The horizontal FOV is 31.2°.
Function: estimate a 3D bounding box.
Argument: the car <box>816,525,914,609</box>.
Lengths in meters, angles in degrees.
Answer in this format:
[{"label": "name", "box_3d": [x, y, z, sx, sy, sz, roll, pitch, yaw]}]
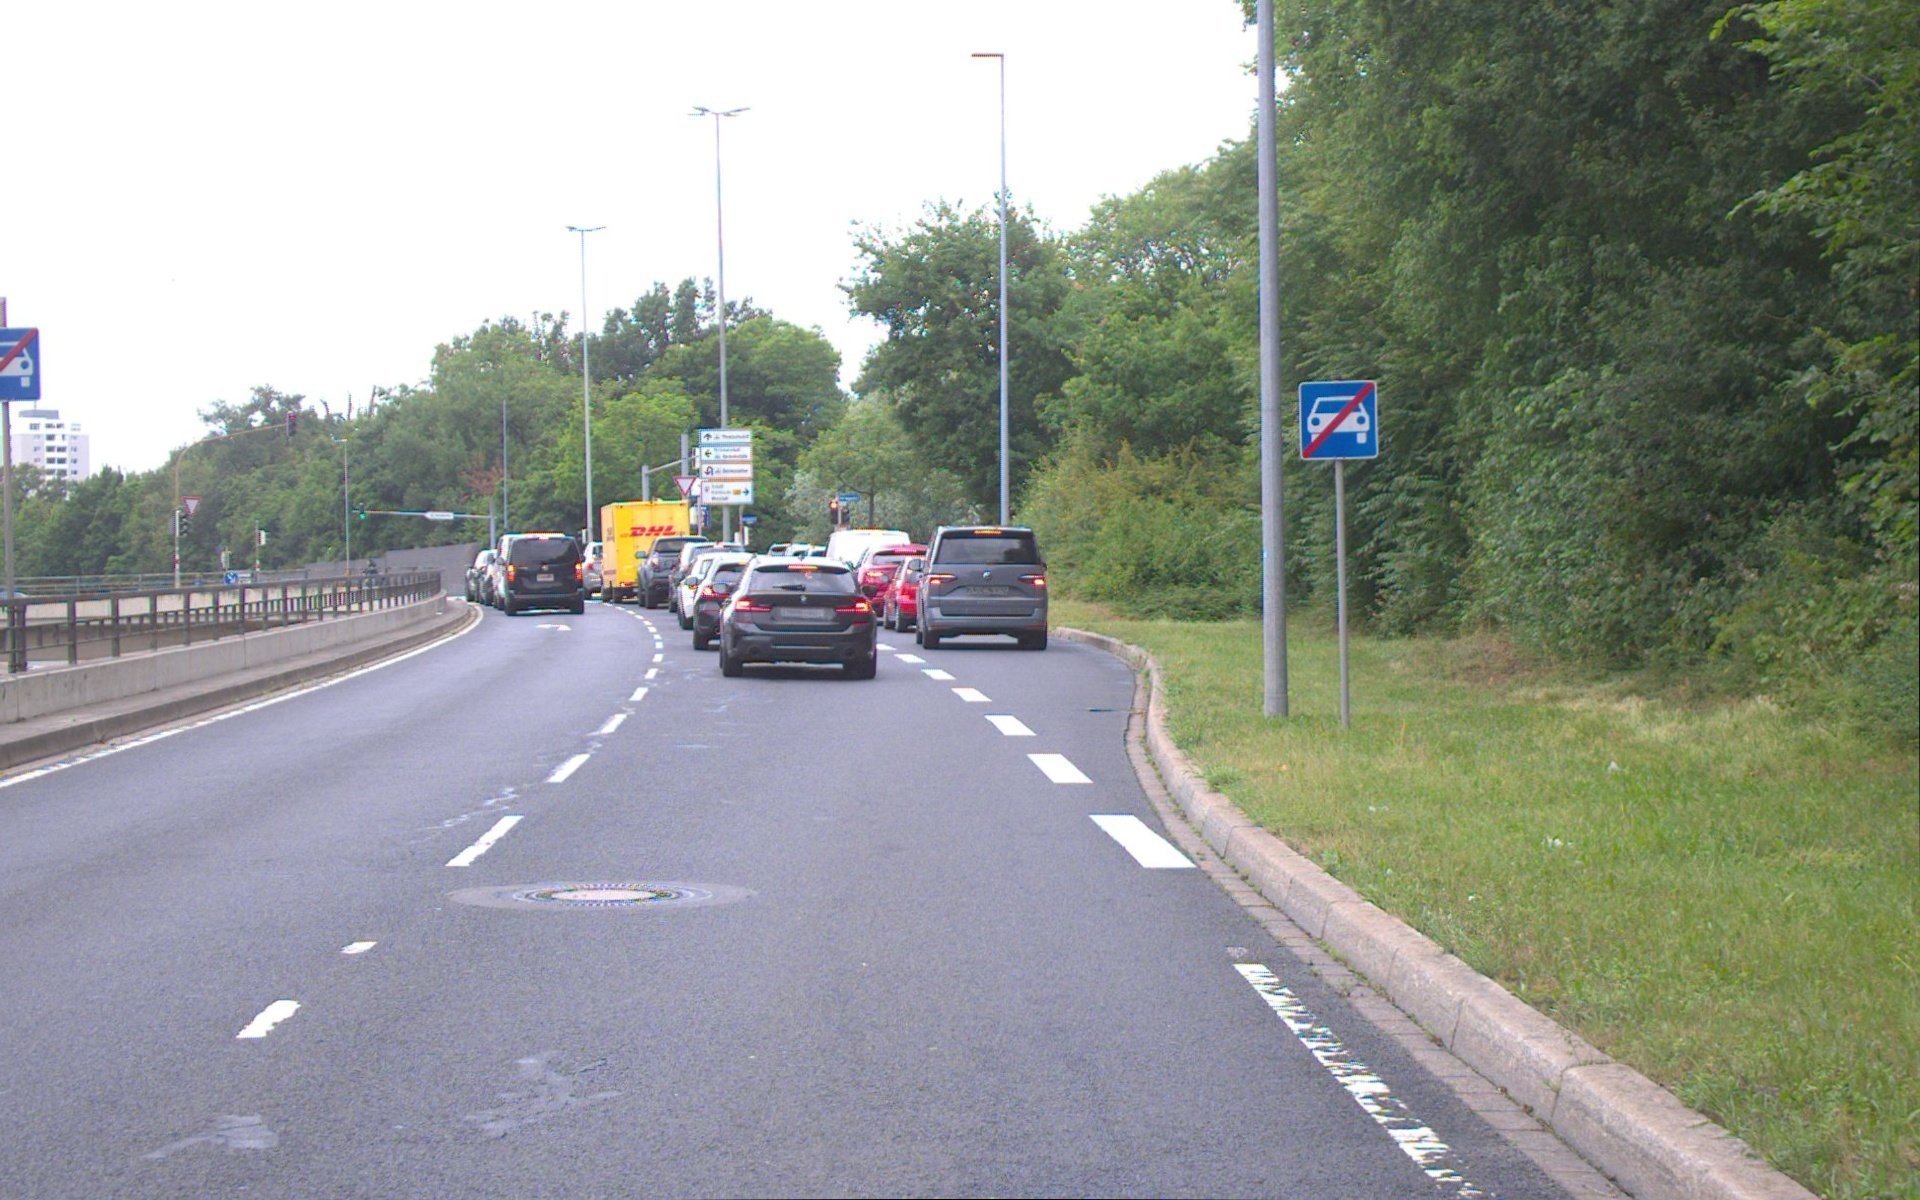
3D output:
[{"label": "car", "box_3d": [-2.209, -0.753, 78.810, 1.884, 1.873, 4.430, 1, 0, -6]}]

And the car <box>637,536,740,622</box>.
[{"label": "car", "box_3d": [-5.320, -0.413, 67.001, 1.884, 1.587, 4.430, 1, 0, -6]}]

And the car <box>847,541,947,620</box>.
[{"label": "car", "box_3d": [-1.317, -0.402, 70.299, 1.884, 1.540, 4.000, 1, 0, -3]}]

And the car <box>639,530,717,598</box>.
[{"label": "car", "box_3d": [-7.340, -0.934, 89.211, 1.884, 1.694, 4.430, 1, 0, -6]}]

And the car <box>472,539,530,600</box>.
[{"label": "car", "box_3d": [-13.334, -0.880, 99.779, 1.623, 1.696, 4.297, 1, 0, -8]}]

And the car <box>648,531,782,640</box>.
[{"label": "car", "box_3d": [-3.800, -0.227, 52.737, 1.884, 1.587, 4.430, 1, 0, -6]}]

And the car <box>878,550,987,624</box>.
[{"label": "car", "box_3d": [-0.551, -0.255, 64.978, 1.884, 1.351, 4.000, 1, 0, -3]}]

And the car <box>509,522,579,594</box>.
[{"label": "car", "box_3d": [-10.184, -1.018, 84.074, 1.623, 1.696, 4.297, 1, 0, -8]}]

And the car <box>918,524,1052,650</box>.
[{"label": "car", "box_3d": [0.347, -0.211, 53.821, 1.898, 1.878, 4.416, 1, 0, -2]}]

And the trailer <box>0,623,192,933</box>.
[{"label": "trailer", "box_3d": [-14.559, 2.478, 51.649, 2.851, 4.023, 16.006, -1, 0, -2]}]

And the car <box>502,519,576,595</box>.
[{"label": "car", "box_3d": [-11.264, -1.139, 92.221, 1.884, 1.981, 4.430, 1, 0, -6]}]

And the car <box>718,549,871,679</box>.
[{"label": "car", "box_3d": [-2.003, 0.128, 41.595, 1.748, 1.421, 4.462, 0, 2, -3]}]
